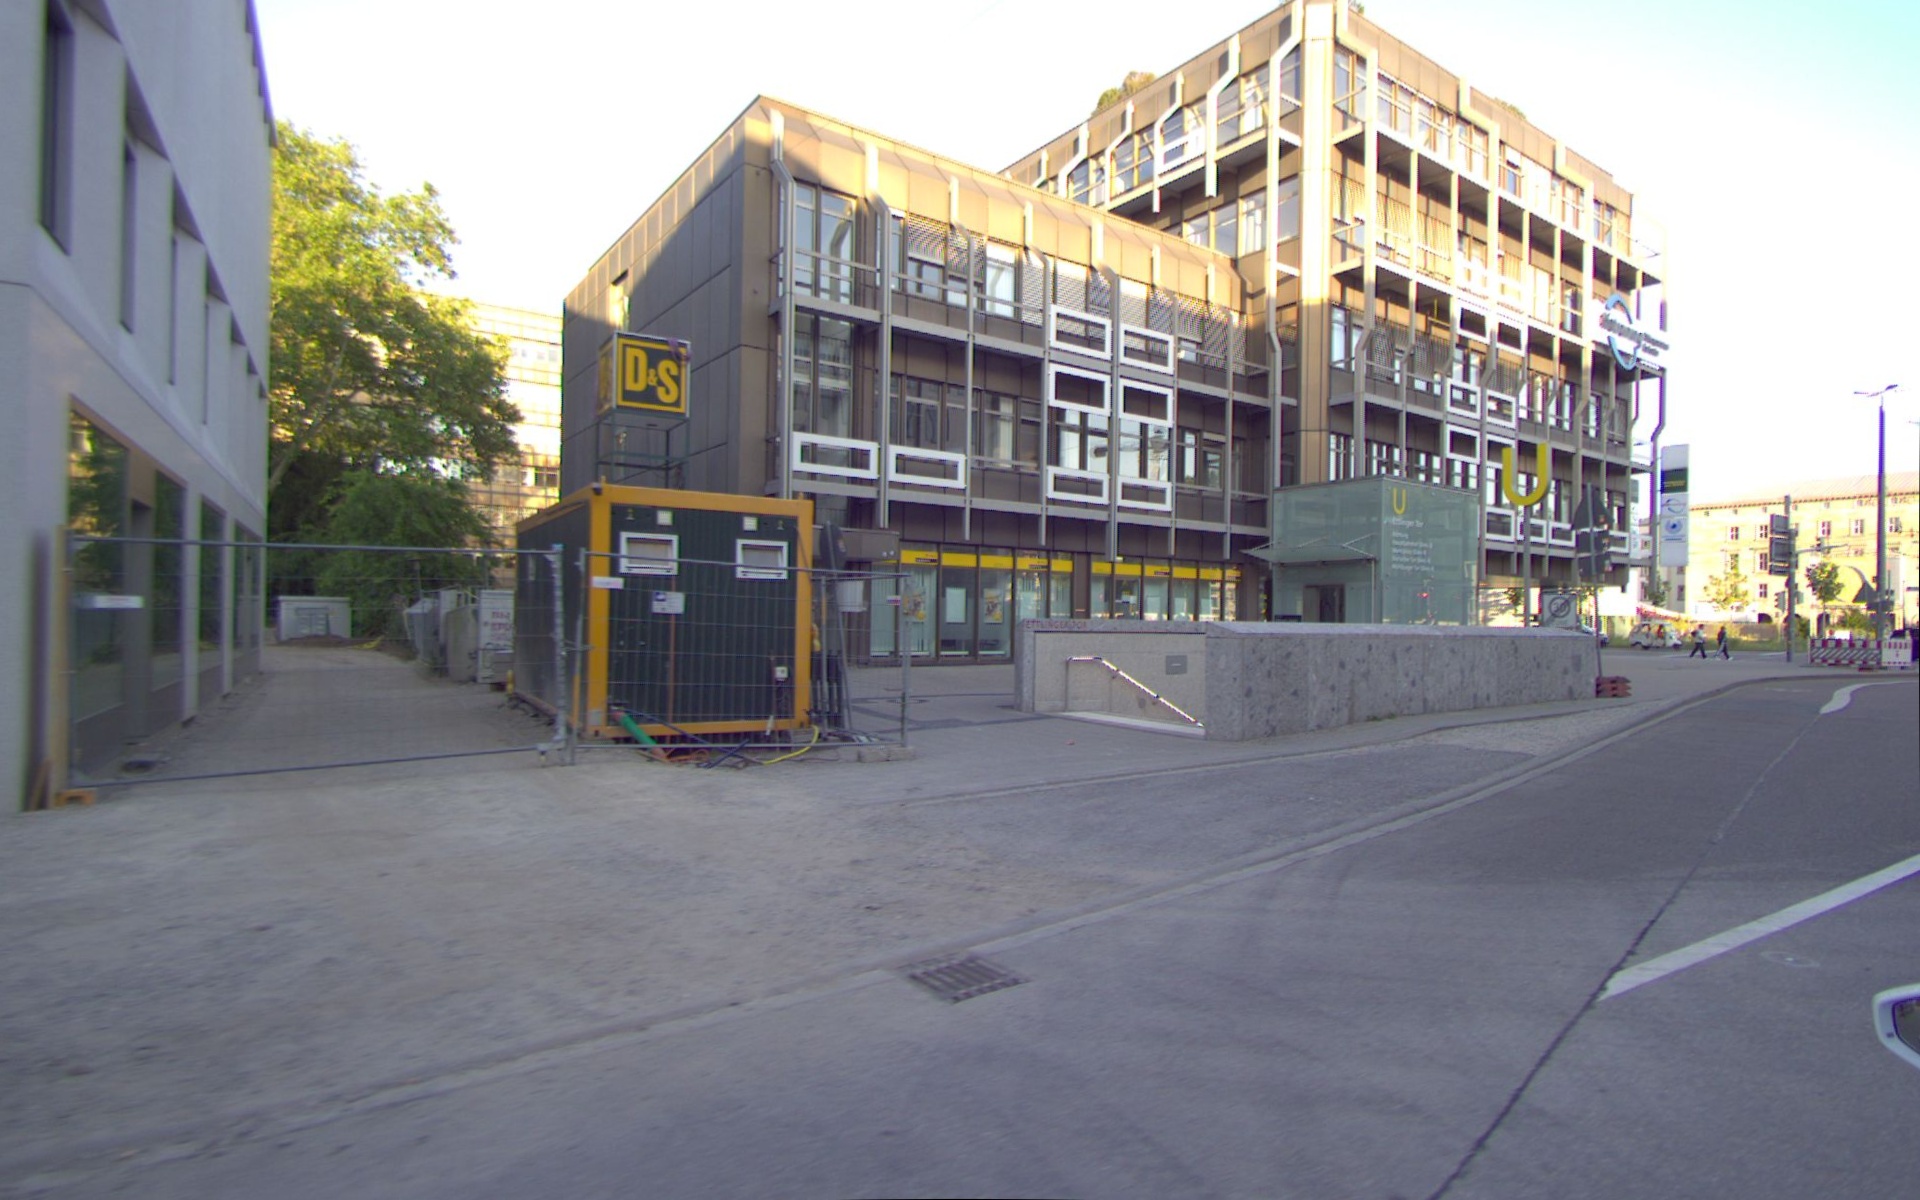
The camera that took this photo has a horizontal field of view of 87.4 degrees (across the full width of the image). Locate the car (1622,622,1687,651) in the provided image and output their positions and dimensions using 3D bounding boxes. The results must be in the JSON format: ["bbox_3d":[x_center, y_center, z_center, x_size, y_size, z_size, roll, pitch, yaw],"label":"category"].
[{"bbox_3d":[43.185,2.249,62.481,1.601,1.707,3.100,1,-1,-45],"label":"car"}]

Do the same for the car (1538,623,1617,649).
[{"bbox_3d":[40.716,2.325,66.315,1.682,1.613,4.147,1,-1,-39],"label":"car"}]

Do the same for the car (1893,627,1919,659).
[{"bbox_3d":[47.167,2.067,47.250,2.104,1.515,4.437,1,-1,-31],"label":"car"}]

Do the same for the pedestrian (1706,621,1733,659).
[{"bbox_3d":[36.912,1.946,48.839,0.726,1.800,0.864,-2,-3,19],"label":"pedestrian"}]

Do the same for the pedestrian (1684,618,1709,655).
[{"bbox_3d":[36.481,1.804,49.760,0.726,1.800,0.863,-2,-3,22],"label":"pedestrian"}]

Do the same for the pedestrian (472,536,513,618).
[{"bbox_3d":[-11.993,-0.567,25.772,0.932,2.040,0.885,1,-1,-25],"label":"pedestrian"}]
